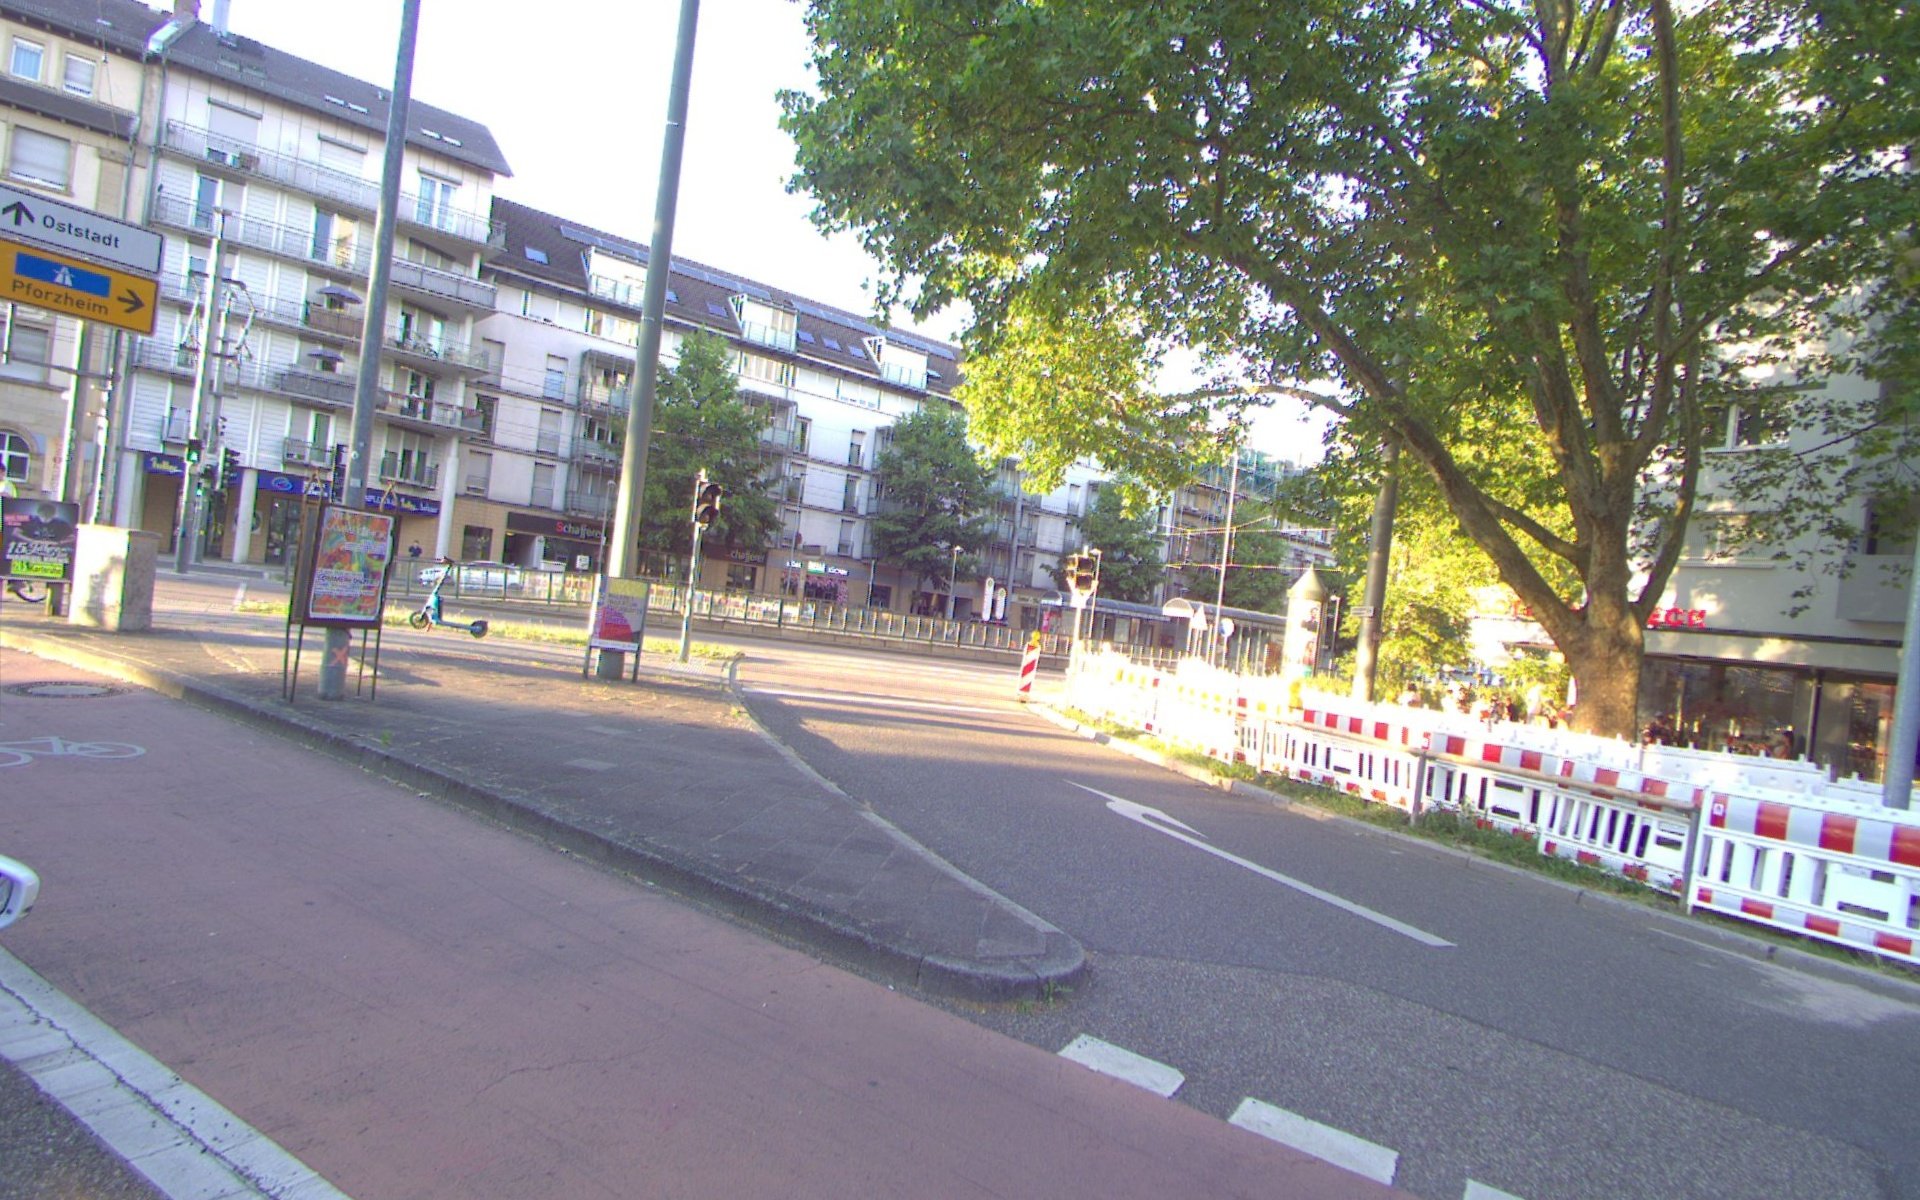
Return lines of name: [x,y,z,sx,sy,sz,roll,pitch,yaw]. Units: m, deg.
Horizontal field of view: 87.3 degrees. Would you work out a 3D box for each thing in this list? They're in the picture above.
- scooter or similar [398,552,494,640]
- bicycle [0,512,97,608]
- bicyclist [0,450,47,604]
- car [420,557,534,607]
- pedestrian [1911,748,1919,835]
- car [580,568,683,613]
scooter or similar: [-8.418,-0.055,16.516,1.217,1.264,0.513,8,-1,-19]
bicycle: [-12.026,-0.530,12.542,0.617,1.122,2.073,7,-2,0]
bicyclist: [-11.983,-0.915,12.384,0.617,1.845,0.699,7,-1,0]
car: [-20.181,-0.756,42.047,3.964,1.503,1.833,9,-2,-34]
pedestrian: [15.685,2.966,15.844,0.733,1.607,0.641,6,-1,25]
car: [-14.939,-0.418,45.861,3.970,1.503,1.830,9,-3,-39]
